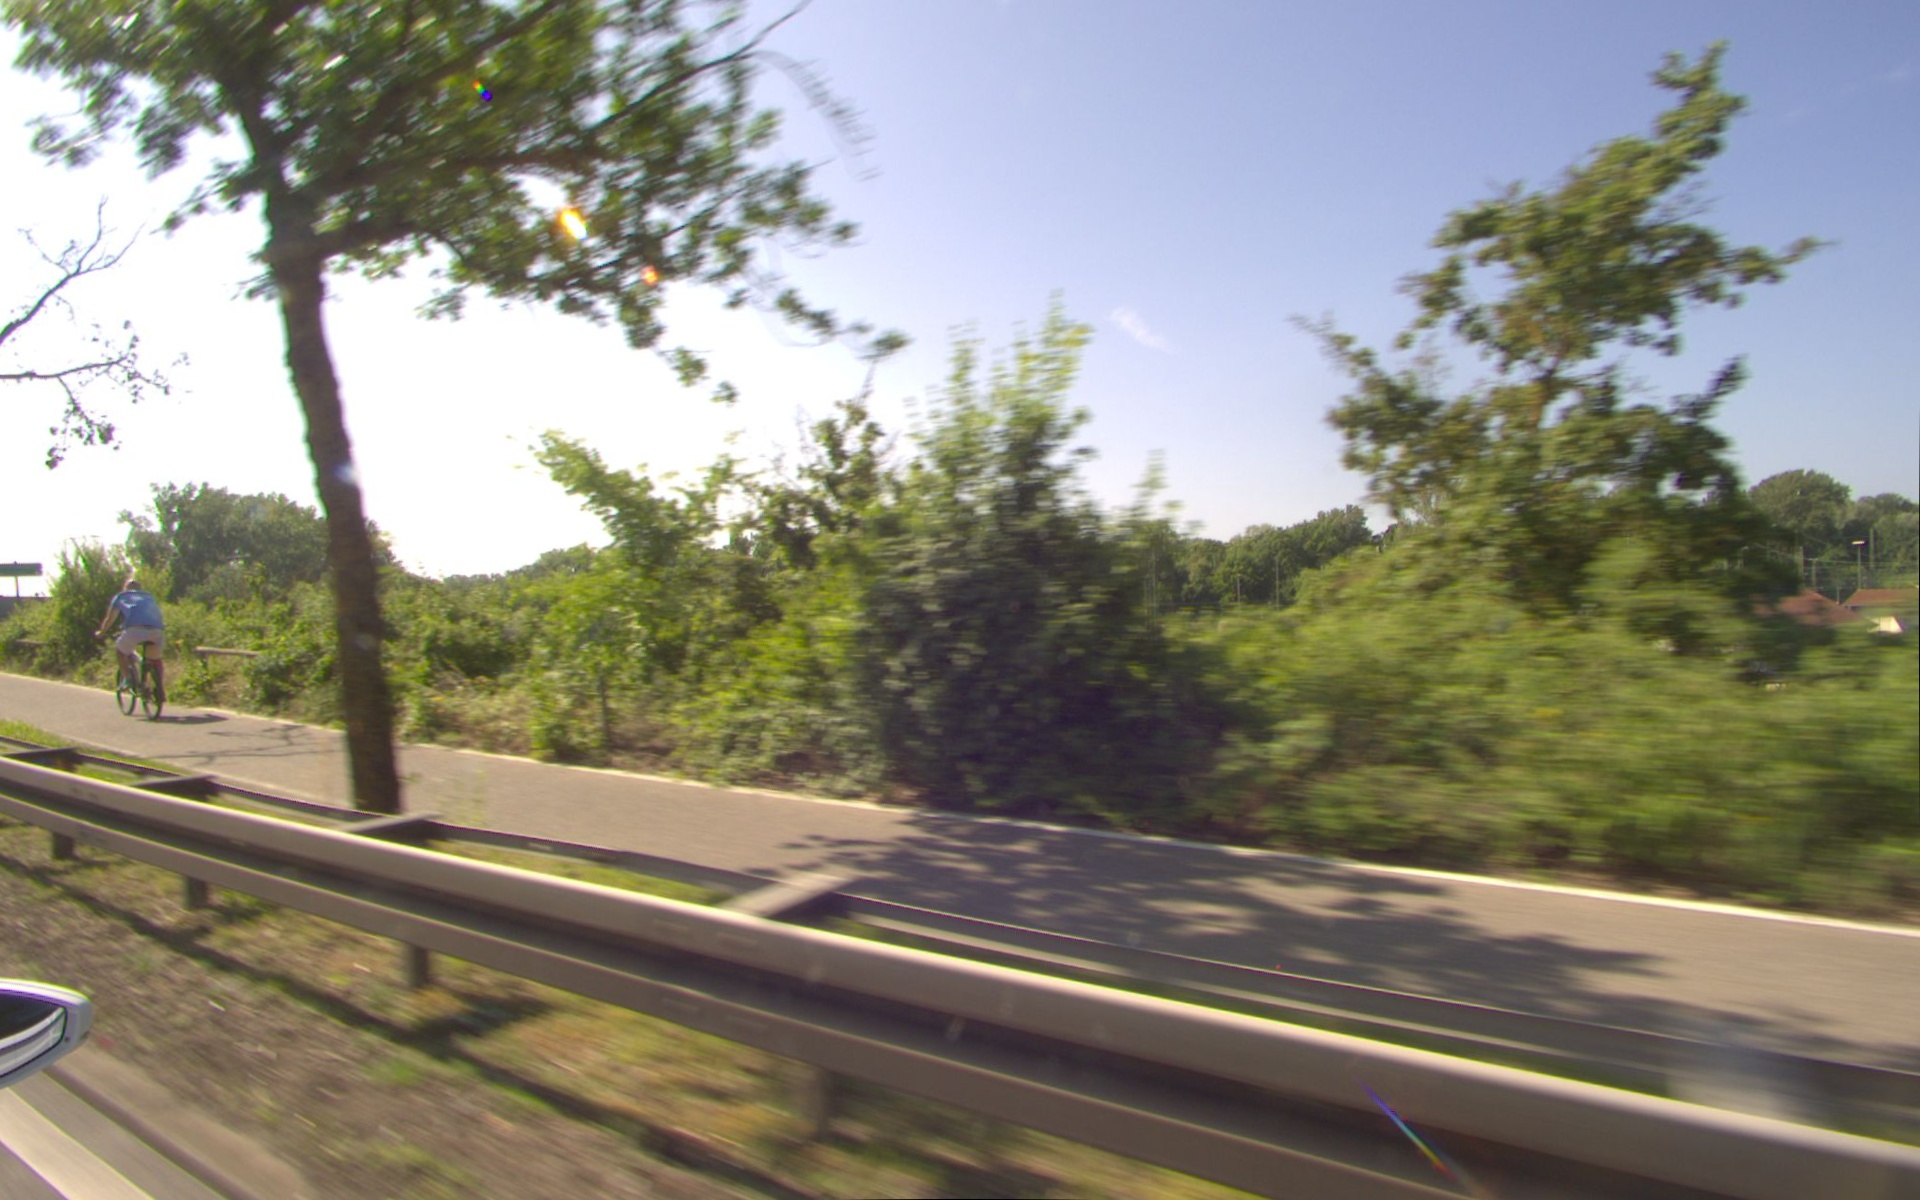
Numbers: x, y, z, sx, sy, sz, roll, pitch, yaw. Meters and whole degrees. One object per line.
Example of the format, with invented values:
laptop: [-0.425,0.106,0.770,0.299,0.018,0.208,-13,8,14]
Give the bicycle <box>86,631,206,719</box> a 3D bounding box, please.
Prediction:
bicycle: [-10.757,0.970,13.213,1.821,1.034,0.699,-2,2,35]

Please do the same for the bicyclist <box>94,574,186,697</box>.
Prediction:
bicyclist: [-10.813,0.459,13.209,0.792,1.541,0.656,-1,3,35]

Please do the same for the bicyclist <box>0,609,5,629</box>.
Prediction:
bicyclist: [-69.821,1.404,72.536,0.601,1.457,1.073,-3,0,-30]

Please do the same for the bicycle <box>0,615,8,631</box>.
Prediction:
bicycle: [-69.813,1.652,72.539,0.605,1.150,2.139,-4,0,-29]
